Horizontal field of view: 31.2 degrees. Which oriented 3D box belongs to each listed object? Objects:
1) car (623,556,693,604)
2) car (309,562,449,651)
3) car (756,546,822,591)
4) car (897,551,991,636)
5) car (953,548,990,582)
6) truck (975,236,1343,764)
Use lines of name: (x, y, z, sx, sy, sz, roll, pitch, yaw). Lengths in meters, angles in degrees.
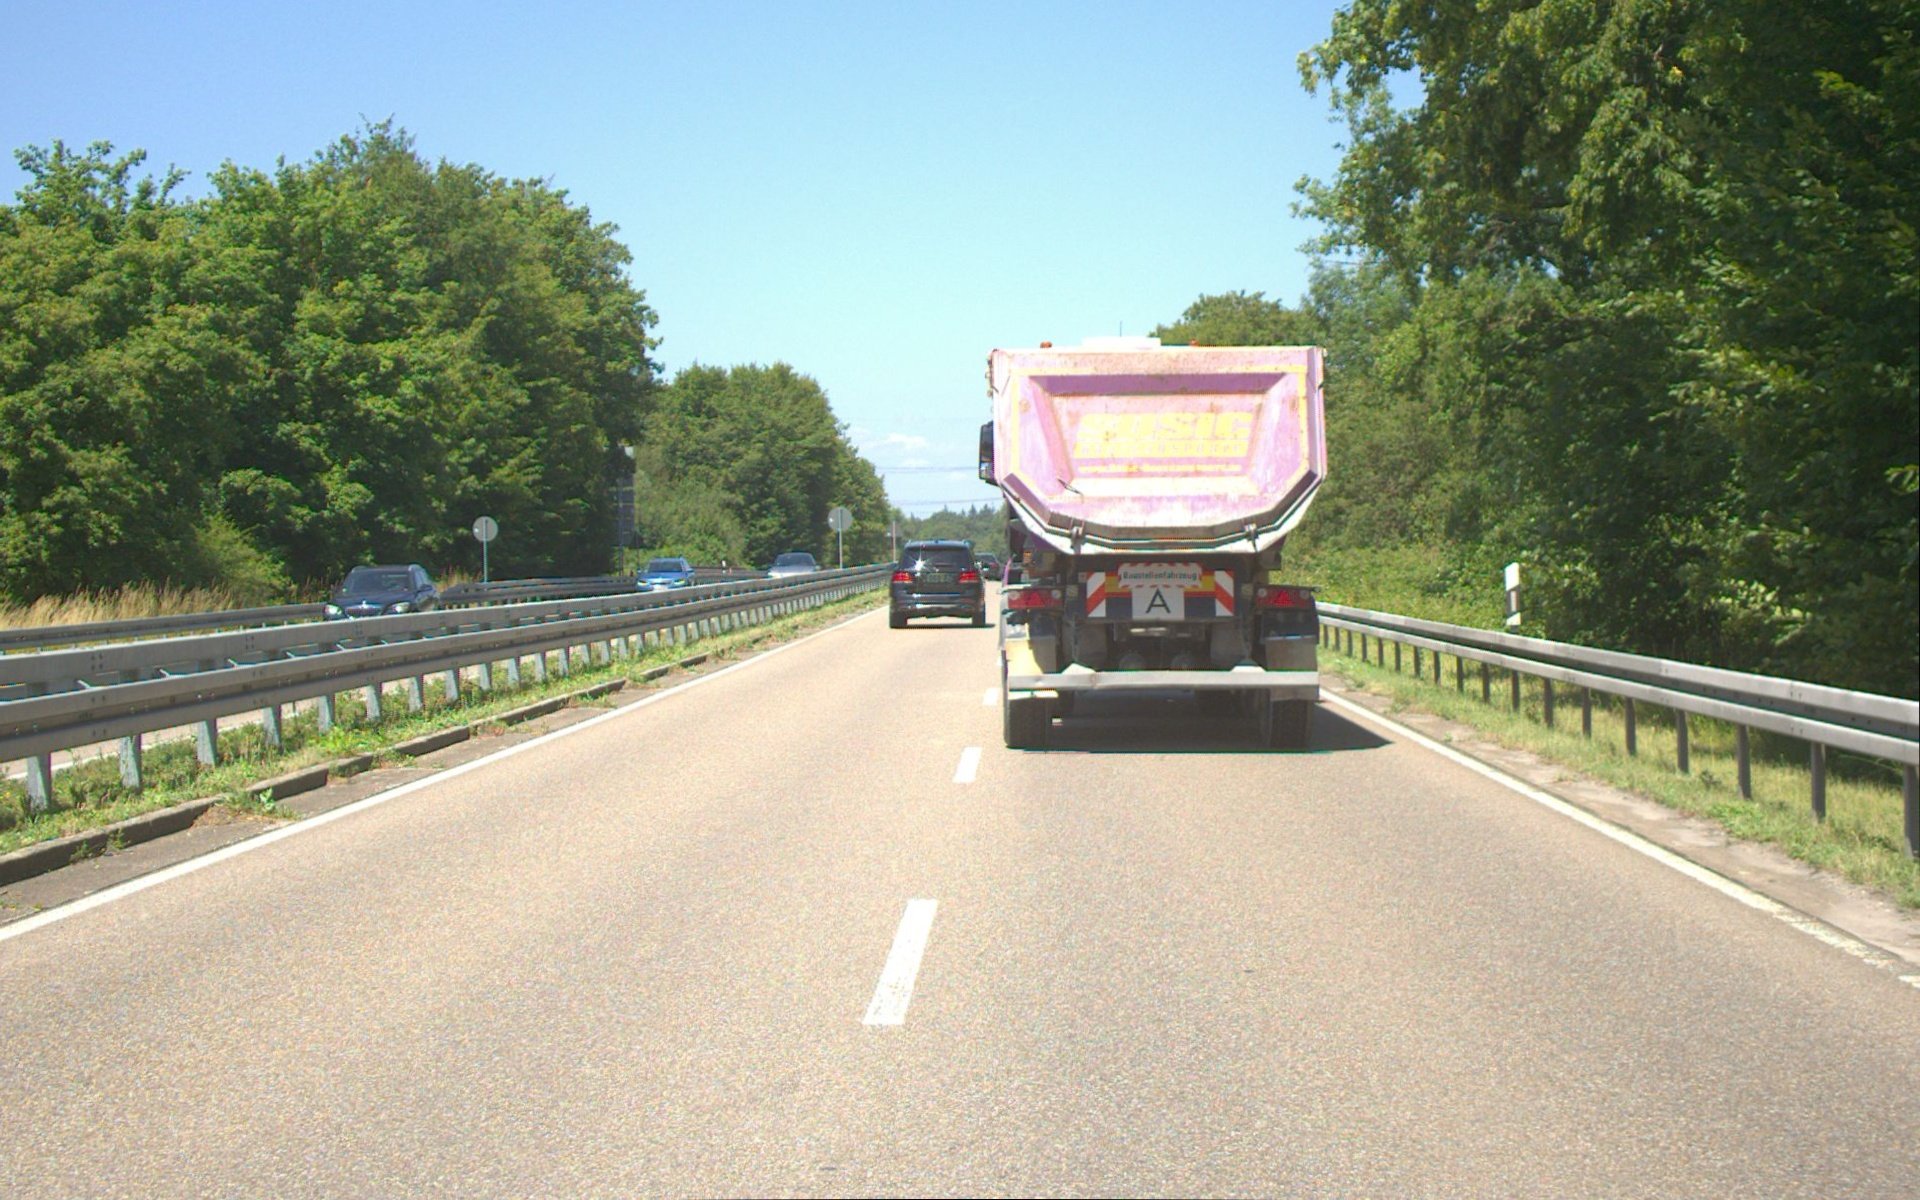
car: (-10.401, -0.703, 118.810, 1.812, 1.537, 4.928, -2, 1, 1)
car: (-11.390, 0.103, 67.688, 1.779, 1.614, 4.505, -2, 1, 2)
car: (-6.587, -1.246, 132.777, 1.994, 1.626, 4.552, -2, 1, 3)
car: (-0.304, -0.104, 70.069, 1.857, 1.666, 4.000, 0, -1, 0)
car: (0.615, -1.839, 180.675, 1.857, 1.712, 3.999, 0, -1, 2)
truck: (1.526, -0.835, 31.678, 2.720, 3.916, 12.370, 0, 1, 0)
